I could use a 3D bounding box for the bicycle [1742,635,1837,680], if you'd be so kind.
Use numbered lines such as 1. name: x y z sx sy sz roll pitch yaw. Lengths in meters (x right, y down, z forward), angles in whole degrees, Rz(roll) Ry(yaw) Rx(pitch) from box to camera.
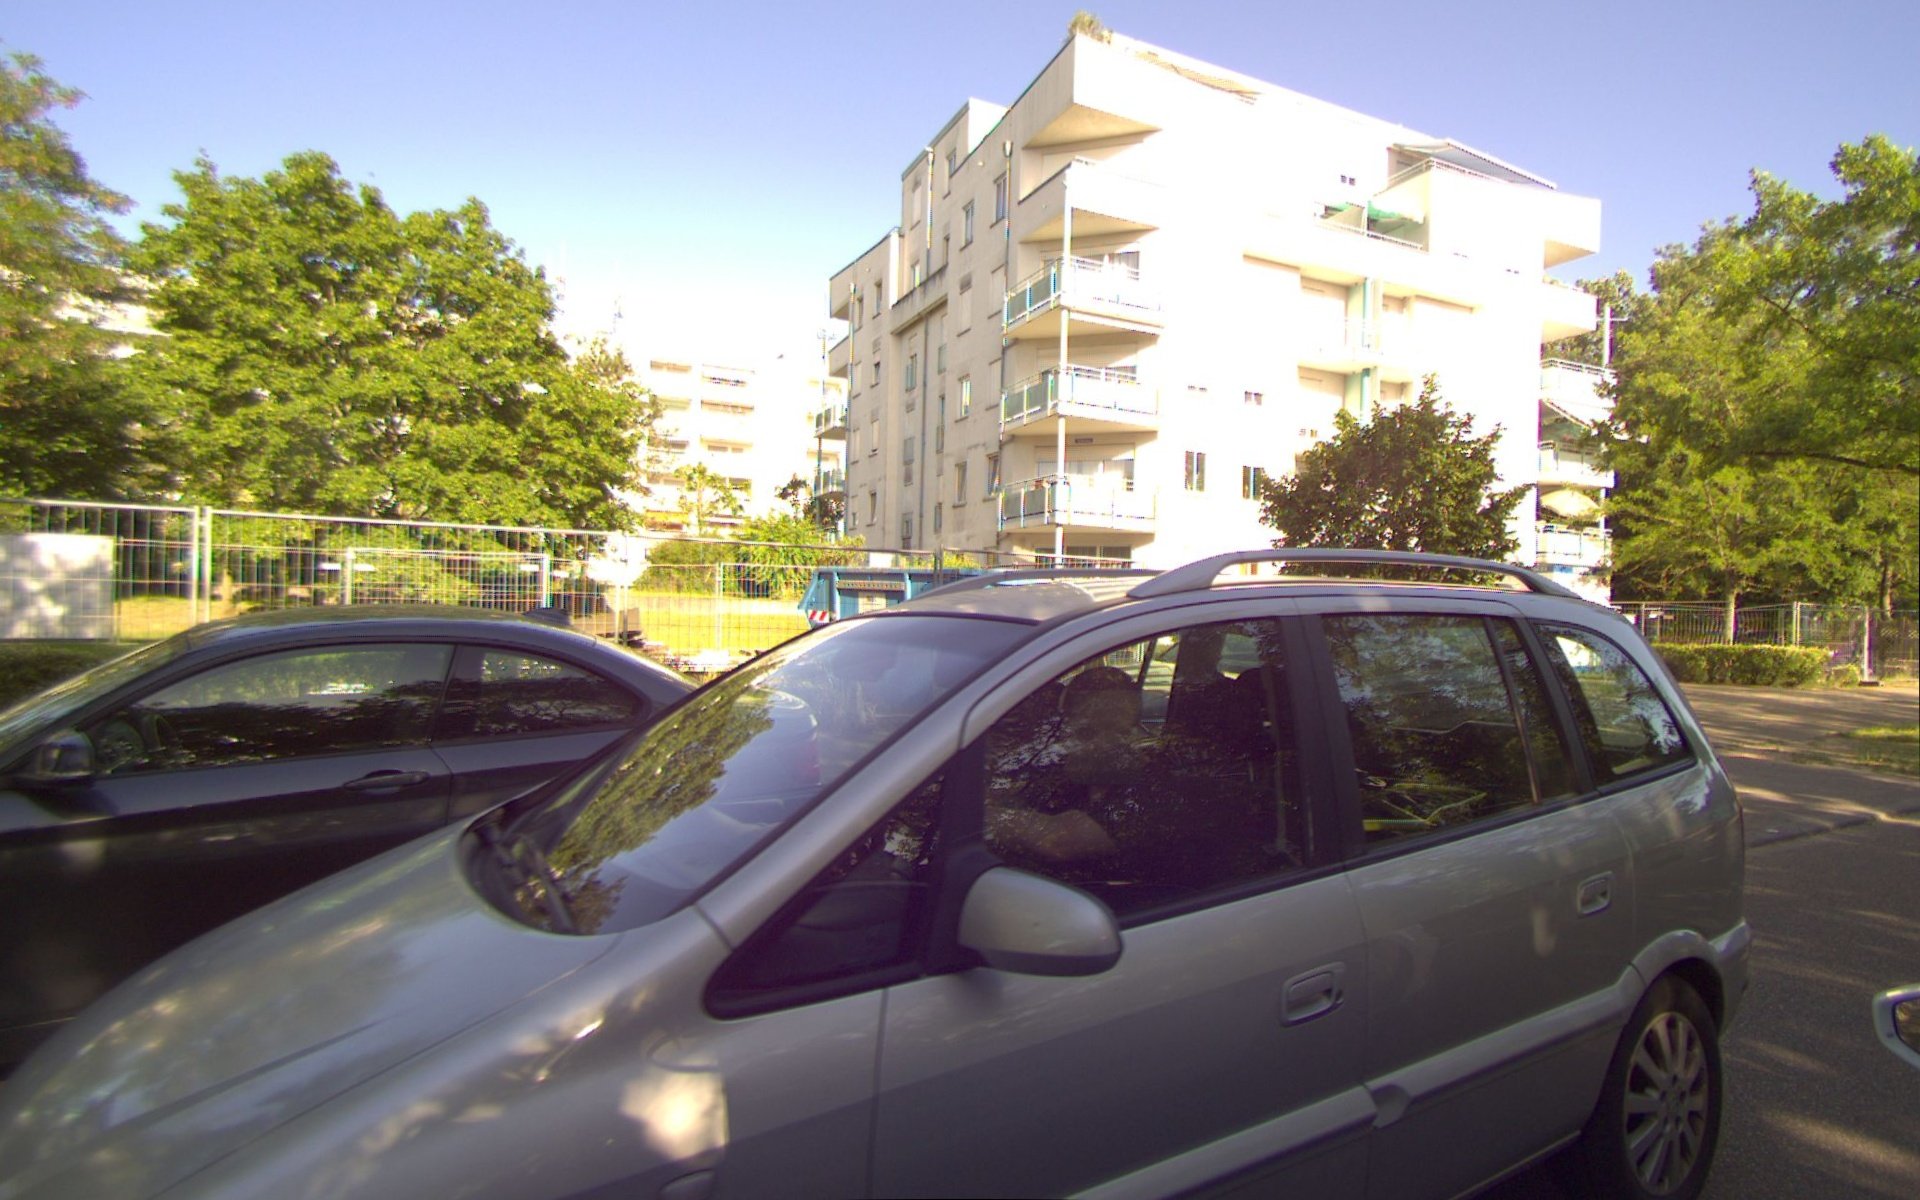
1. bicycle: 21.425 1.473 25.980 0.397 1.040 1.852 3 -1 -41

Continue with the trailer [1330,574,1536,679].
1. trailer: 10.591 0.589 22.460 4.289 2.149 1.857 2 1 -26

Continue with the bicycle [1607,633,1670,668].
1. bicycle: 21.338 1.575 31.615 0.395 1.040 1.691 2 -1 -23

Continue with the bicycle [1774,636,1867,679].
1. bicycle: 22.710 1.501 26.544 0.397 1.040 1.821 3 -1 -42

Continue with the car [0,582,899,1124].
1. car: -2.448 0.709 3.906 4.094 1.452 1.705 2 1 -34

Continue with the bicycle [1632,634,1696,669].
1. bicycle: 22.466 1.624 32.081 0.395 1.040 1.691 2 -1 -23

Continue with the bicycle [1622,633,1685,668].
1. bicycle: 21.966 1.594 31.856 0.395 1.040 1.691 2 -1 -23

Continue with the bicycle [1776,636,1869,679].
1. bicycle: 23.060 1.518 26.874 0.397 1.040 1.842 3 -1 -42

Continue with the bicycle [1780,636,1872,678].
1. bicycle: 23.384 1.530 27.149 0.397 1.040 1.821 3 -1 -42

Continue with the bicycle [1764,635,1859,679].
1. bicycle: 22.294 1.483 26.331 0.397 1.040 1.838 3 -1 -42

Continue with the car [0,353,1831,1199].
1. car: 0.369 0.666 2.556 3.962 1.617 1.651 2 -2 -31

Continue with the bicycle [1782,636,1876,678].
1. bicycle: 23.734 1.548 27.466 0.397 1.040 1.897 3 -1 -41

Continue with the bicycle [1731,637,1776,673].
1. bicycle: 23.549 1.640 29.798 1.679 1.040 0.398 3 -1 -28

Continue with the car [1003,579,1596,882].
1. car: 2.564 0.755 7.344 4.171 1.643 1.767 2 1 -30
